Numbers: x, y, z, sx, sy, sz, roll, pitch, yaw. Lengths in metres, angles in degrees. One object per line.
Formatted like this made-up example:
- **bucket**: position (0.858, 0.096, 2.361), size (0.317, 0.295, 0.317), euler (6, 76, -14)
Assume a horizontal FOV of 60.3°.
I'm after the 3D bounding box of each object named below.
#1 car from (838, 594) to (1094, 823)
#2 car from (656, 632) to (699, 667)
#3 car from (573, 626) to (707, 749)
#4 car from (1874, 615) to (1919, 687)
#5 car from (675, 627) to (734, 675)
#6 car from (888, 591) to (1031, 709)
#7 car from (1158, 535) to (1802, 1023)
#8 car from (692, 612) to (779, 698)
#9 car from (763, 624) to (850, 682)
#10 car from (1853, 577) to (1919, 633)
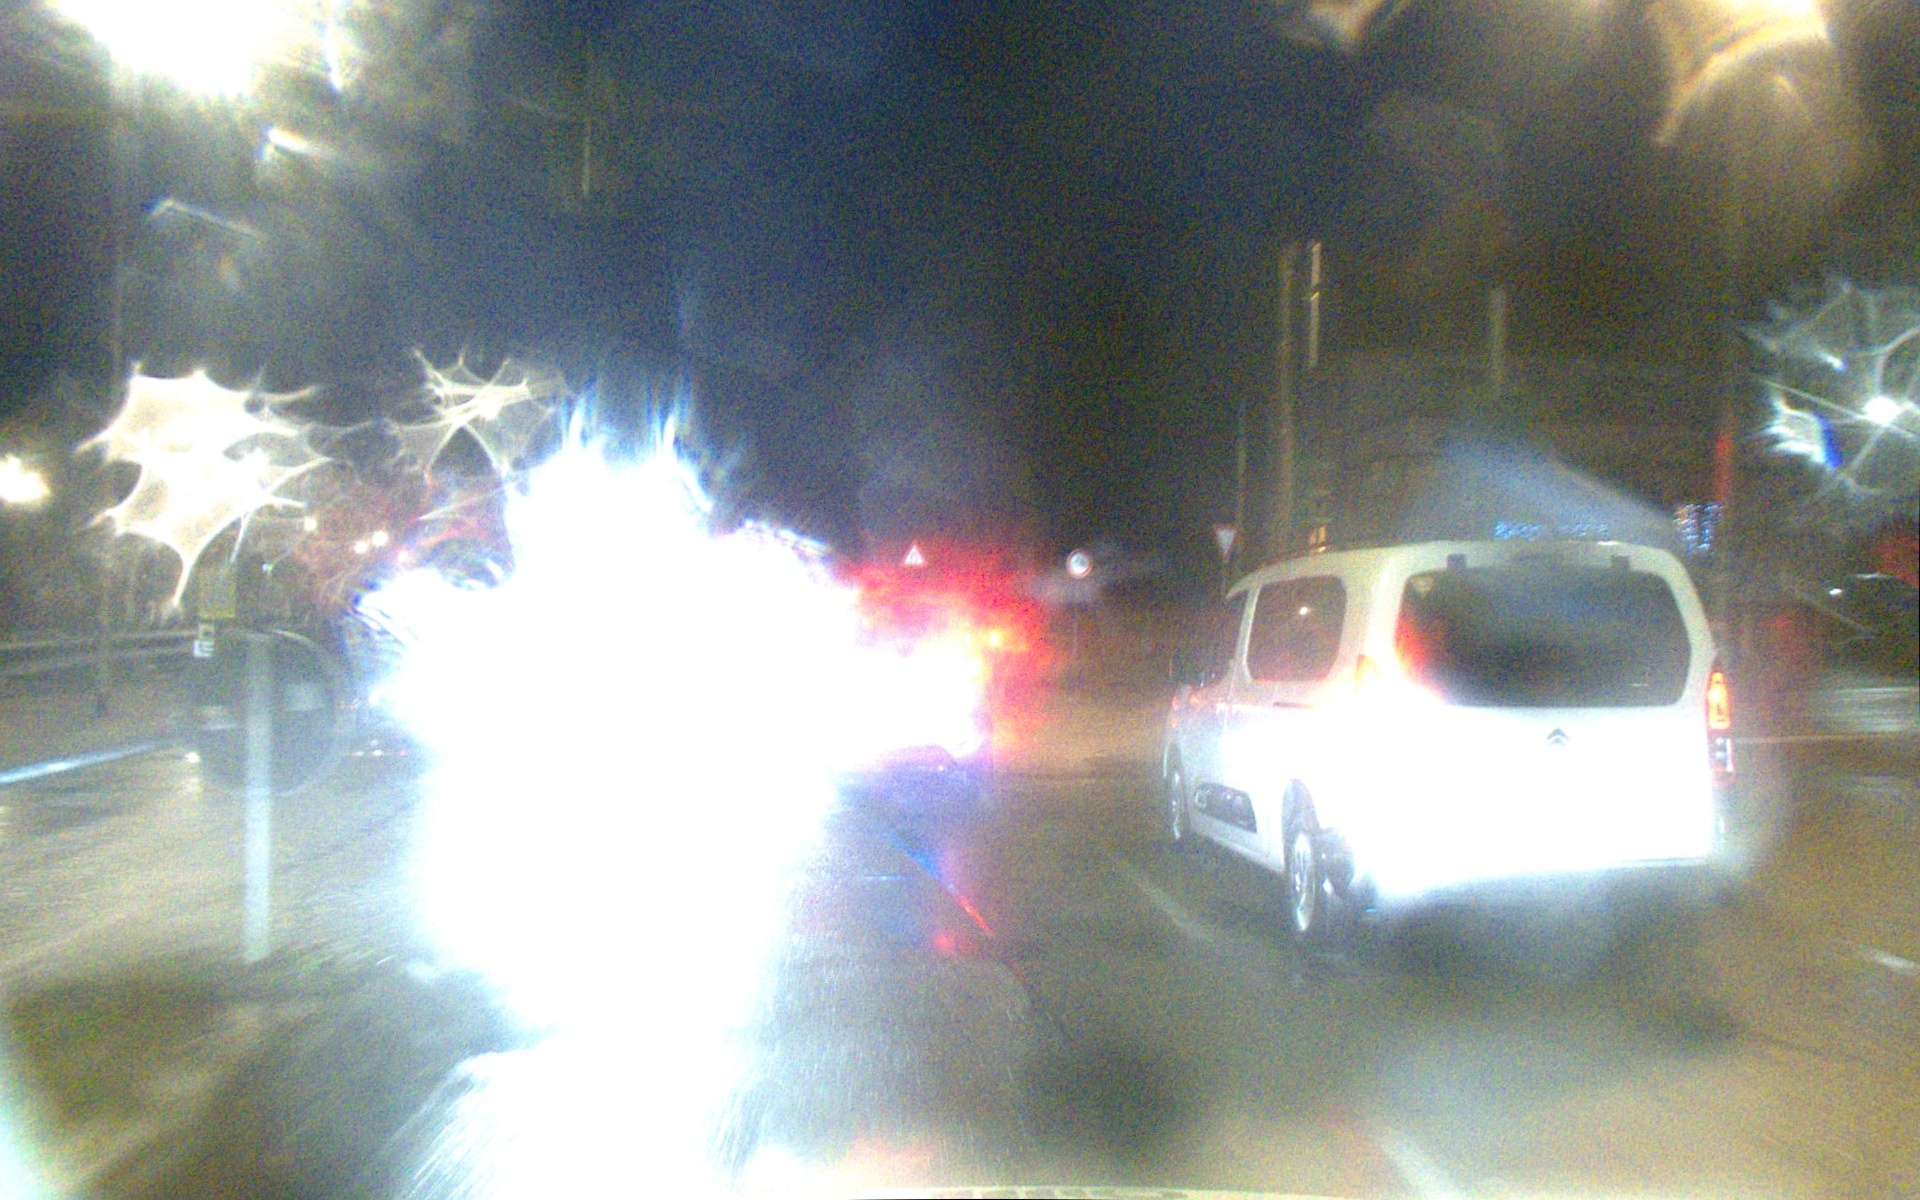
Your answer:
- **car**: position (-0.038, 0.904, 15.137), size (1.974, 1.747, 4.449), euler (1, -1, -2)
- **car**: position (-14.899, 2.603, 87.116), size (1.959, 1.763, 3.986), euler (1, -1, -13)
- **car**: position (-5.543, 1.425, 28.275), size (1.980, 1.920, 4.435), euler (2, -1, -14)
- **car**: position (23.313, 1.183, 38.896), size (1.825, 1.675, 3.966), euler (-2, -2, 8)
- **car**: position (-10.005, 1.979, 64.612), size (1.959, 1.763, 3.986), euler (1, -1, -13)
- **car**: position (-0.083, 0.946, 31.564), size (1.934, 2.083, 3.988), euler (1, -1, -12)
- **car**: position (2.334, 0.764, 8.710), size (1.815, 1.898, 4.337), euler (1, -1, -3)
- **car**: position (-5.760, 1.369, 42.086), size (1.957, 2.049, 3.989), euler (1, -1, -10)
- **car**: position (-4.951, 1.679, 52.804), size (1.962, 1.748, 3.980), euler (2, -2, -17)
- **car**: position (30.690, 0.169, 52.526), size (1.744, 1.698, 4.049), euler (2, -2, -17)
